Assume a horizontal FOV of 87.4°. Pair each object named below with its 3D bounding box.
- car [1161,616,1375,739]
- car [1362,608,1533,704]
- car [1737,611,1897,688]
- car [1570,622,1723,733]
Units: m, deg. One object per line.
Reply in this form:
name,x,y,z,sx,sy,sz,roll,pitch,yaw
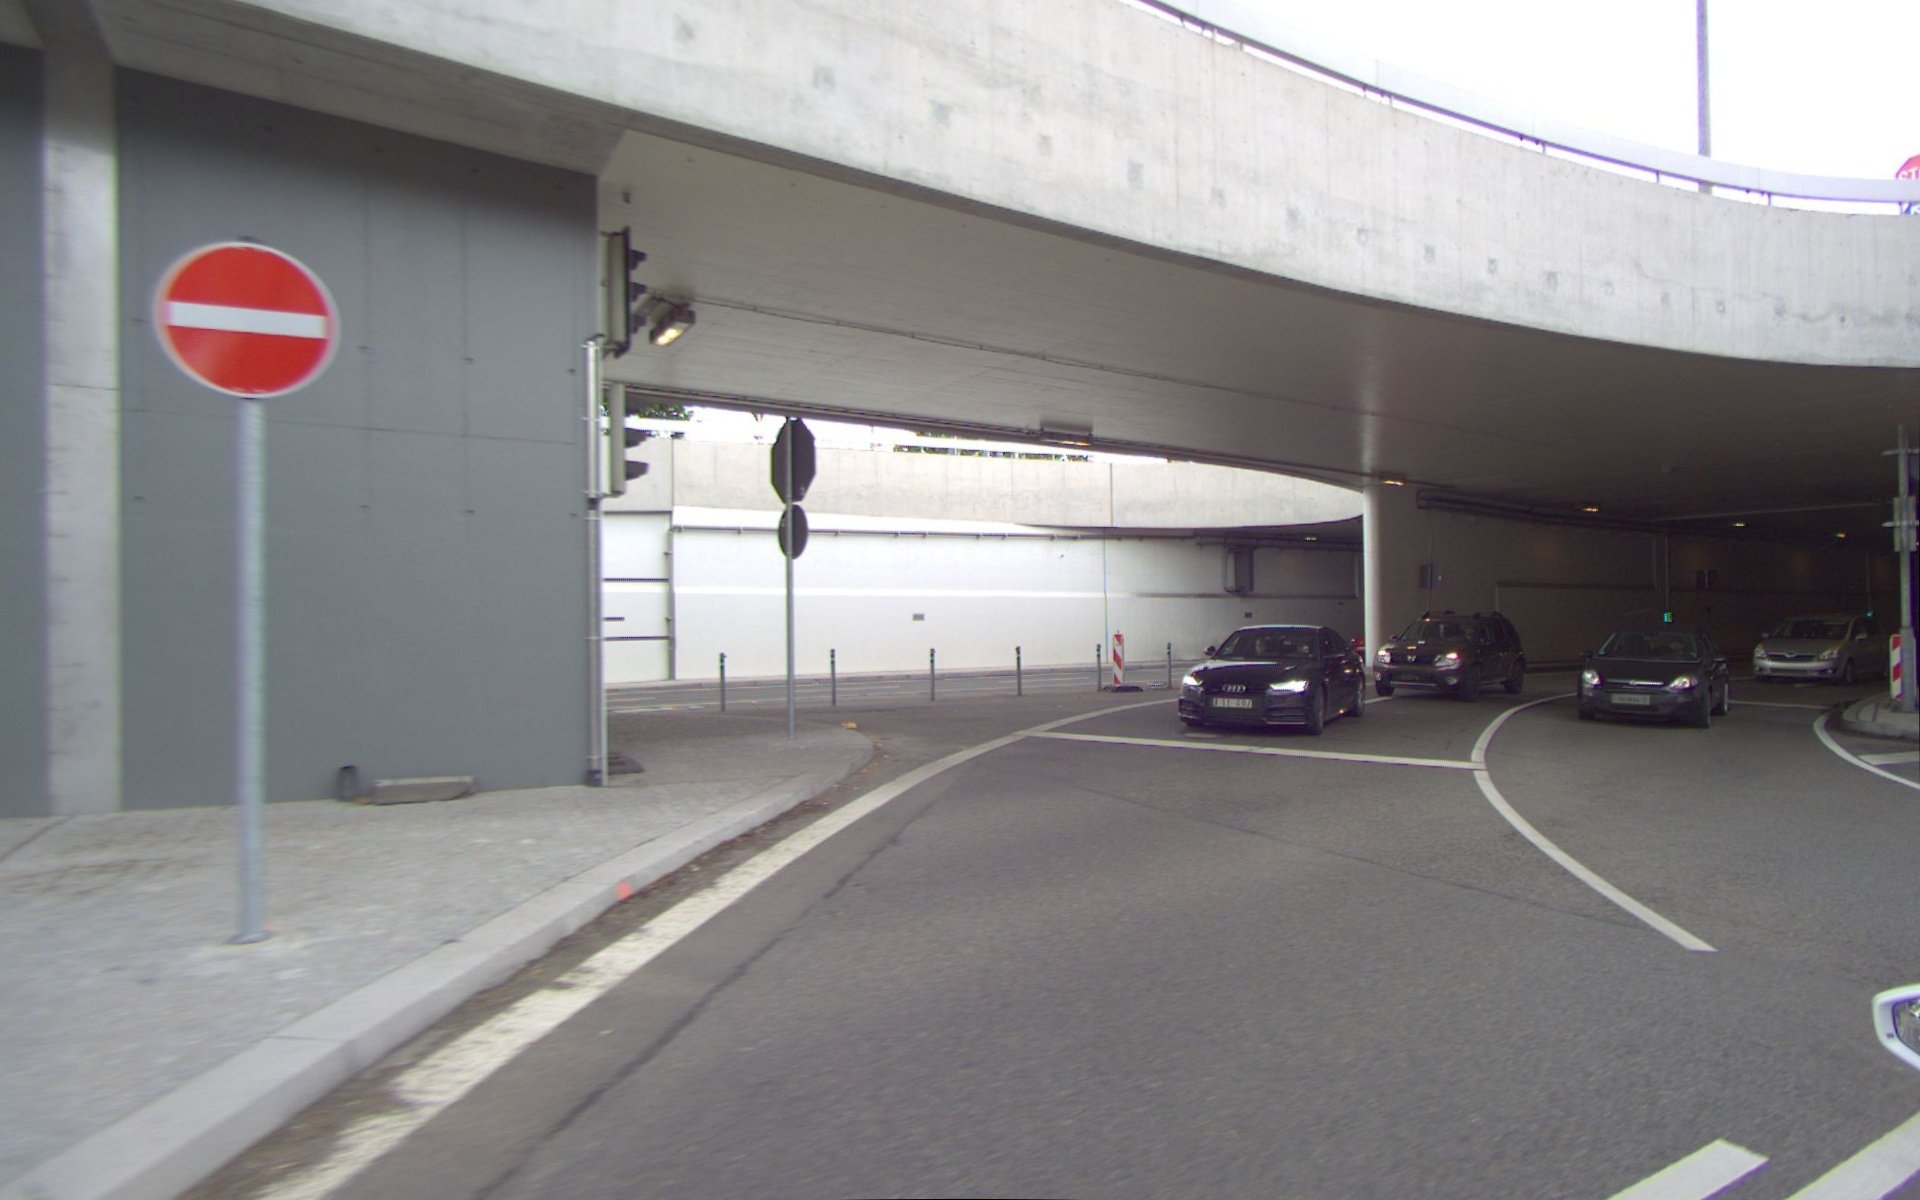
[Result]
car,4.613,0.975,14.499,1.824,1.462,4.833,0,-1,31
car,9.740,1.010,19.914,1.775,1.621,4.300,1,1,45
car,20.737,1.120,24.233,4.738,1.626,1.796,-1,0,-35
car,10.871,1.101,15.781,1.644,1.460,4.094,-1,-1,39
